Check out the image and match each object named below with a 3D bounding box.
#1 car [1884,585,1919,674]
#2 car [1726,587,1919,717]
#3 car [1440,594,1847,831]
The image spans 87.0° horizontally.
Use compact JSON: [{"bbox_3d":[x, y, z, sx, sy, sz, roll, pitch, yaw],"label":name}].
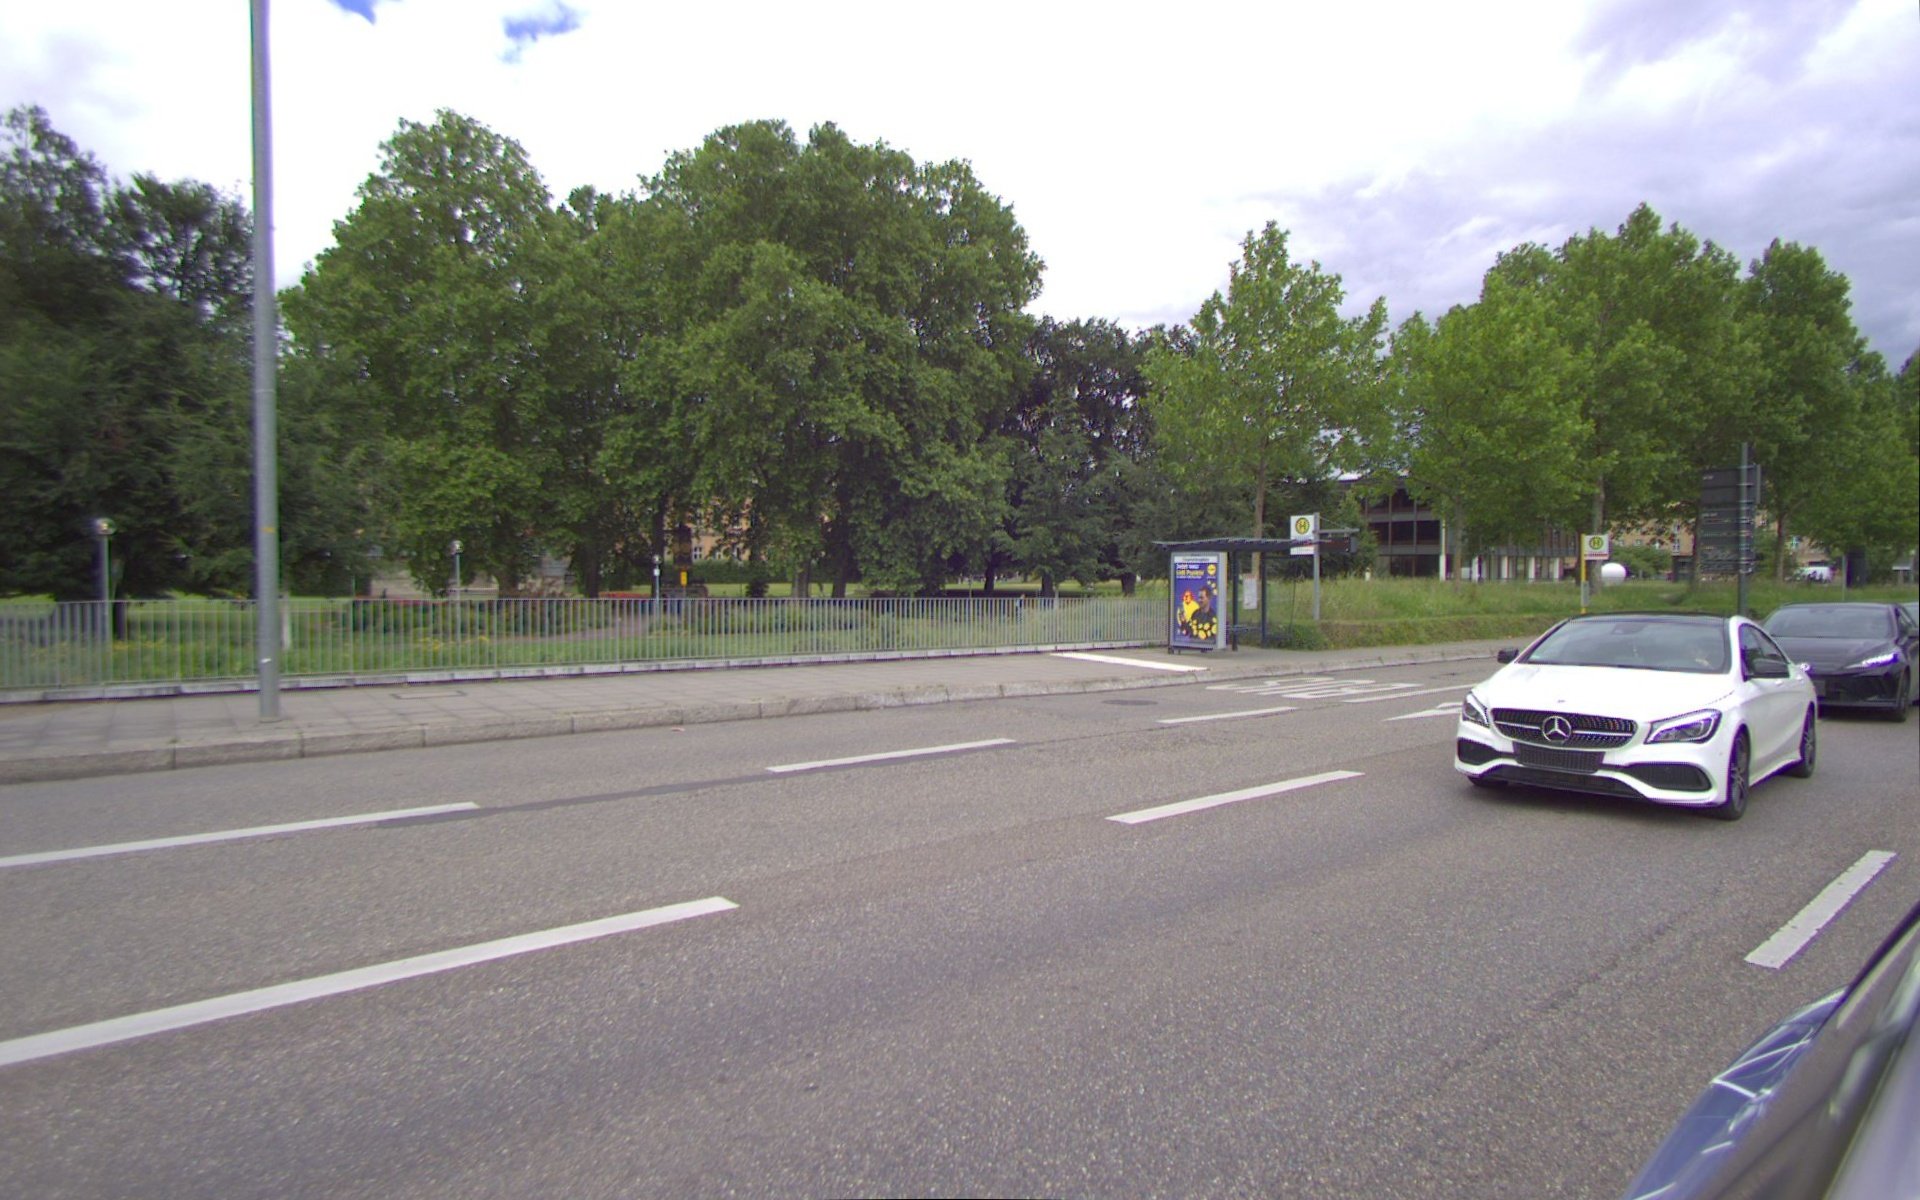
[{"bbox_3d":[18.426,0.492,18.602,3.929,1.556,1.572,-1,0,-39],"label":"car"},{"bbox_3d":[12.282,0.622,14.016,4.046,1.543,1.828,0,0,-40],"label":"car"},{"bbox_3d":[5.822,0.685,8.382,4.427,1.441,1.722,-1,0,-41],"label":"car"}]
